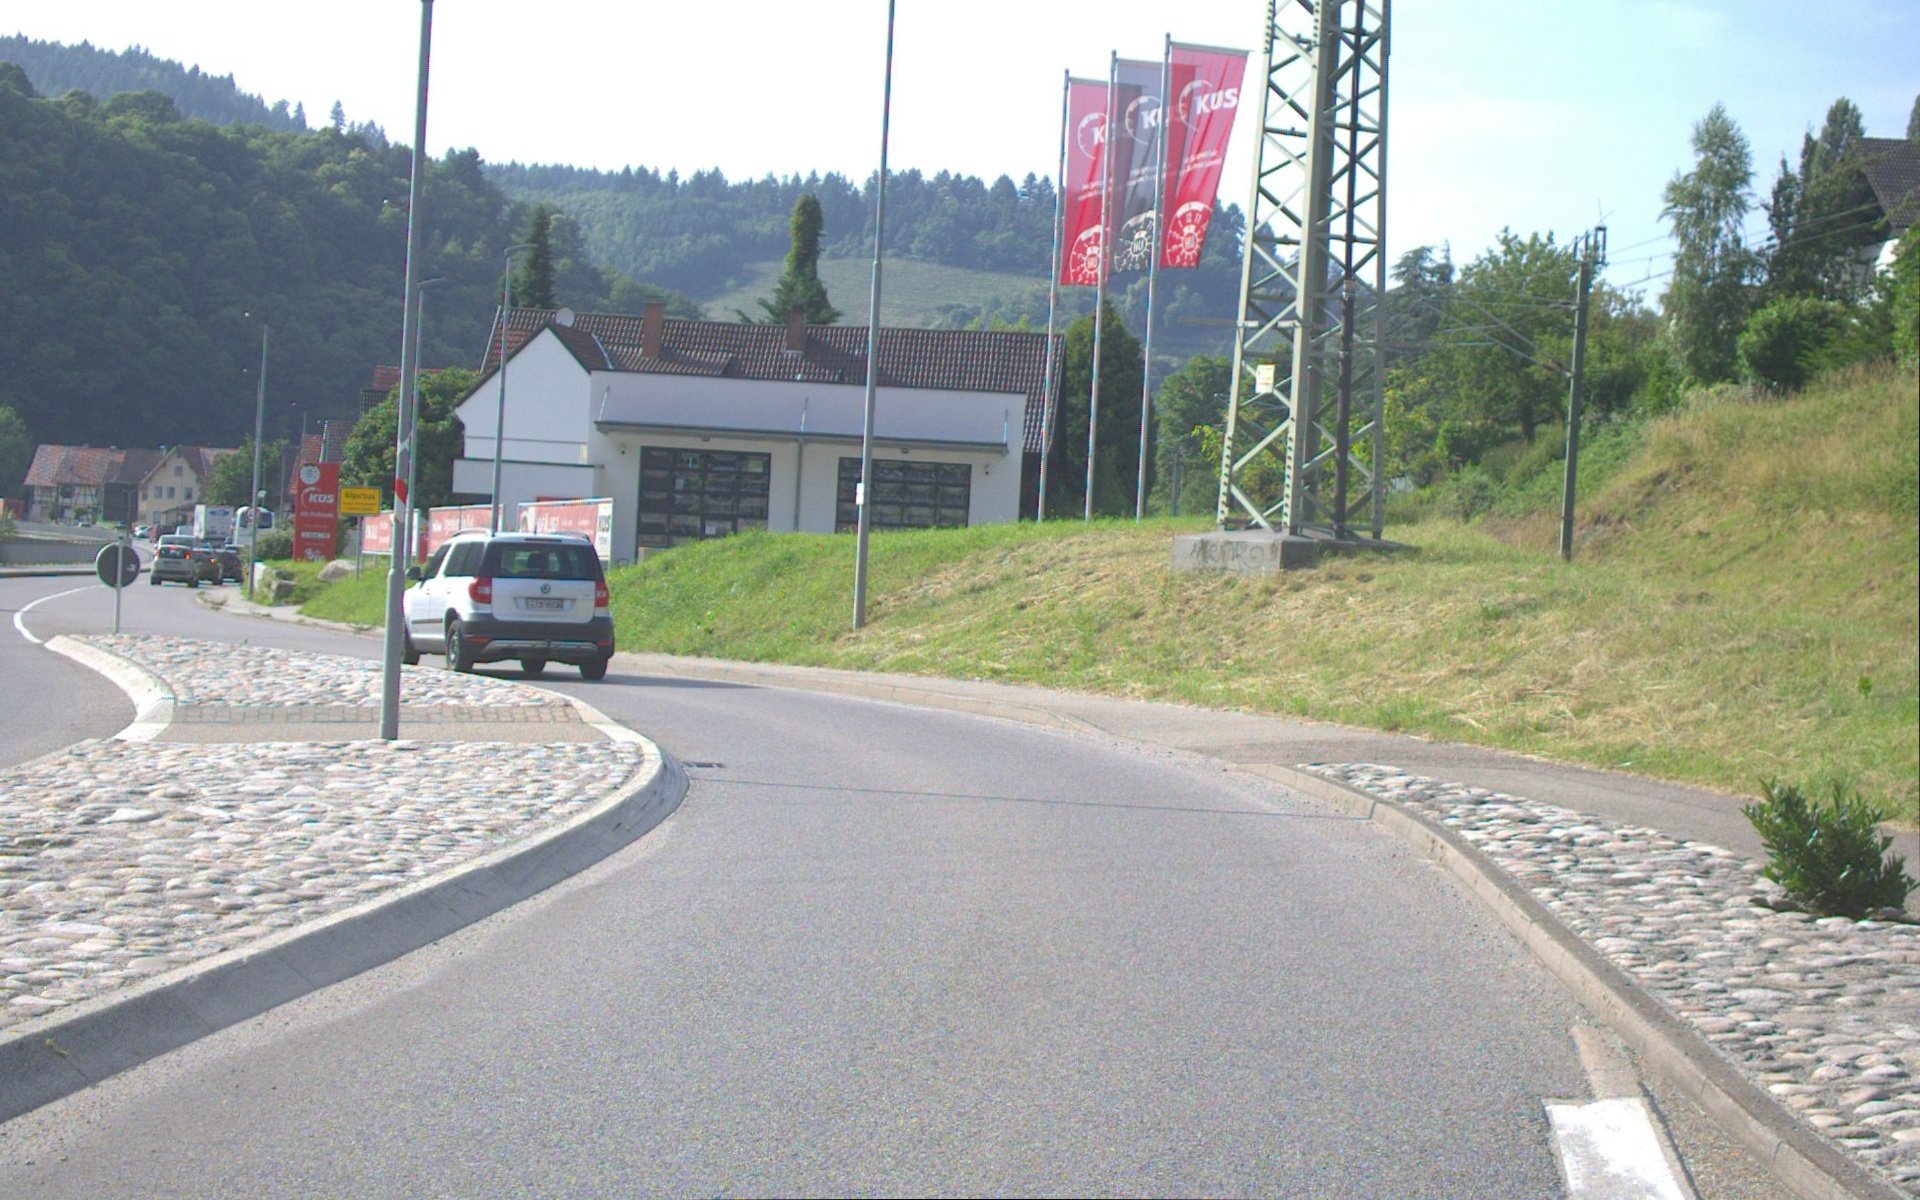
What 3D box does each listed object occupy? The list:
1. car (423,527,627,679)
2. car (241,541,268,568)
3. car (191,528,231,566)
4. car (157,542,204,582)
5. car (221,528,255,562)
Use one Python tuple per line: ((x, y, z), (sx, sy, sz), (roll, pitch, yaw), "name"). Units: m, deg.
((-5.078, 0.016, 39.659), (1.860, 1.539, 4.374), (4, 0, -12), "car")
((-33.860, -2.202, 164.966), (1.170, 1.151, 2.685), (4, 1, -13), "car")
((-31.055, -2.195, 142.574), (1.356, 1.430, 2.839), (4, 1, -9), "car")
((-30.122, -1.474, 132.904), (1.453, 1.430, 2.936), (4, 1, -8), "car")
((-32.232, -2.467, 153.539), (1.291, 1.430, 2.807), (4, 1, -9), "car")
